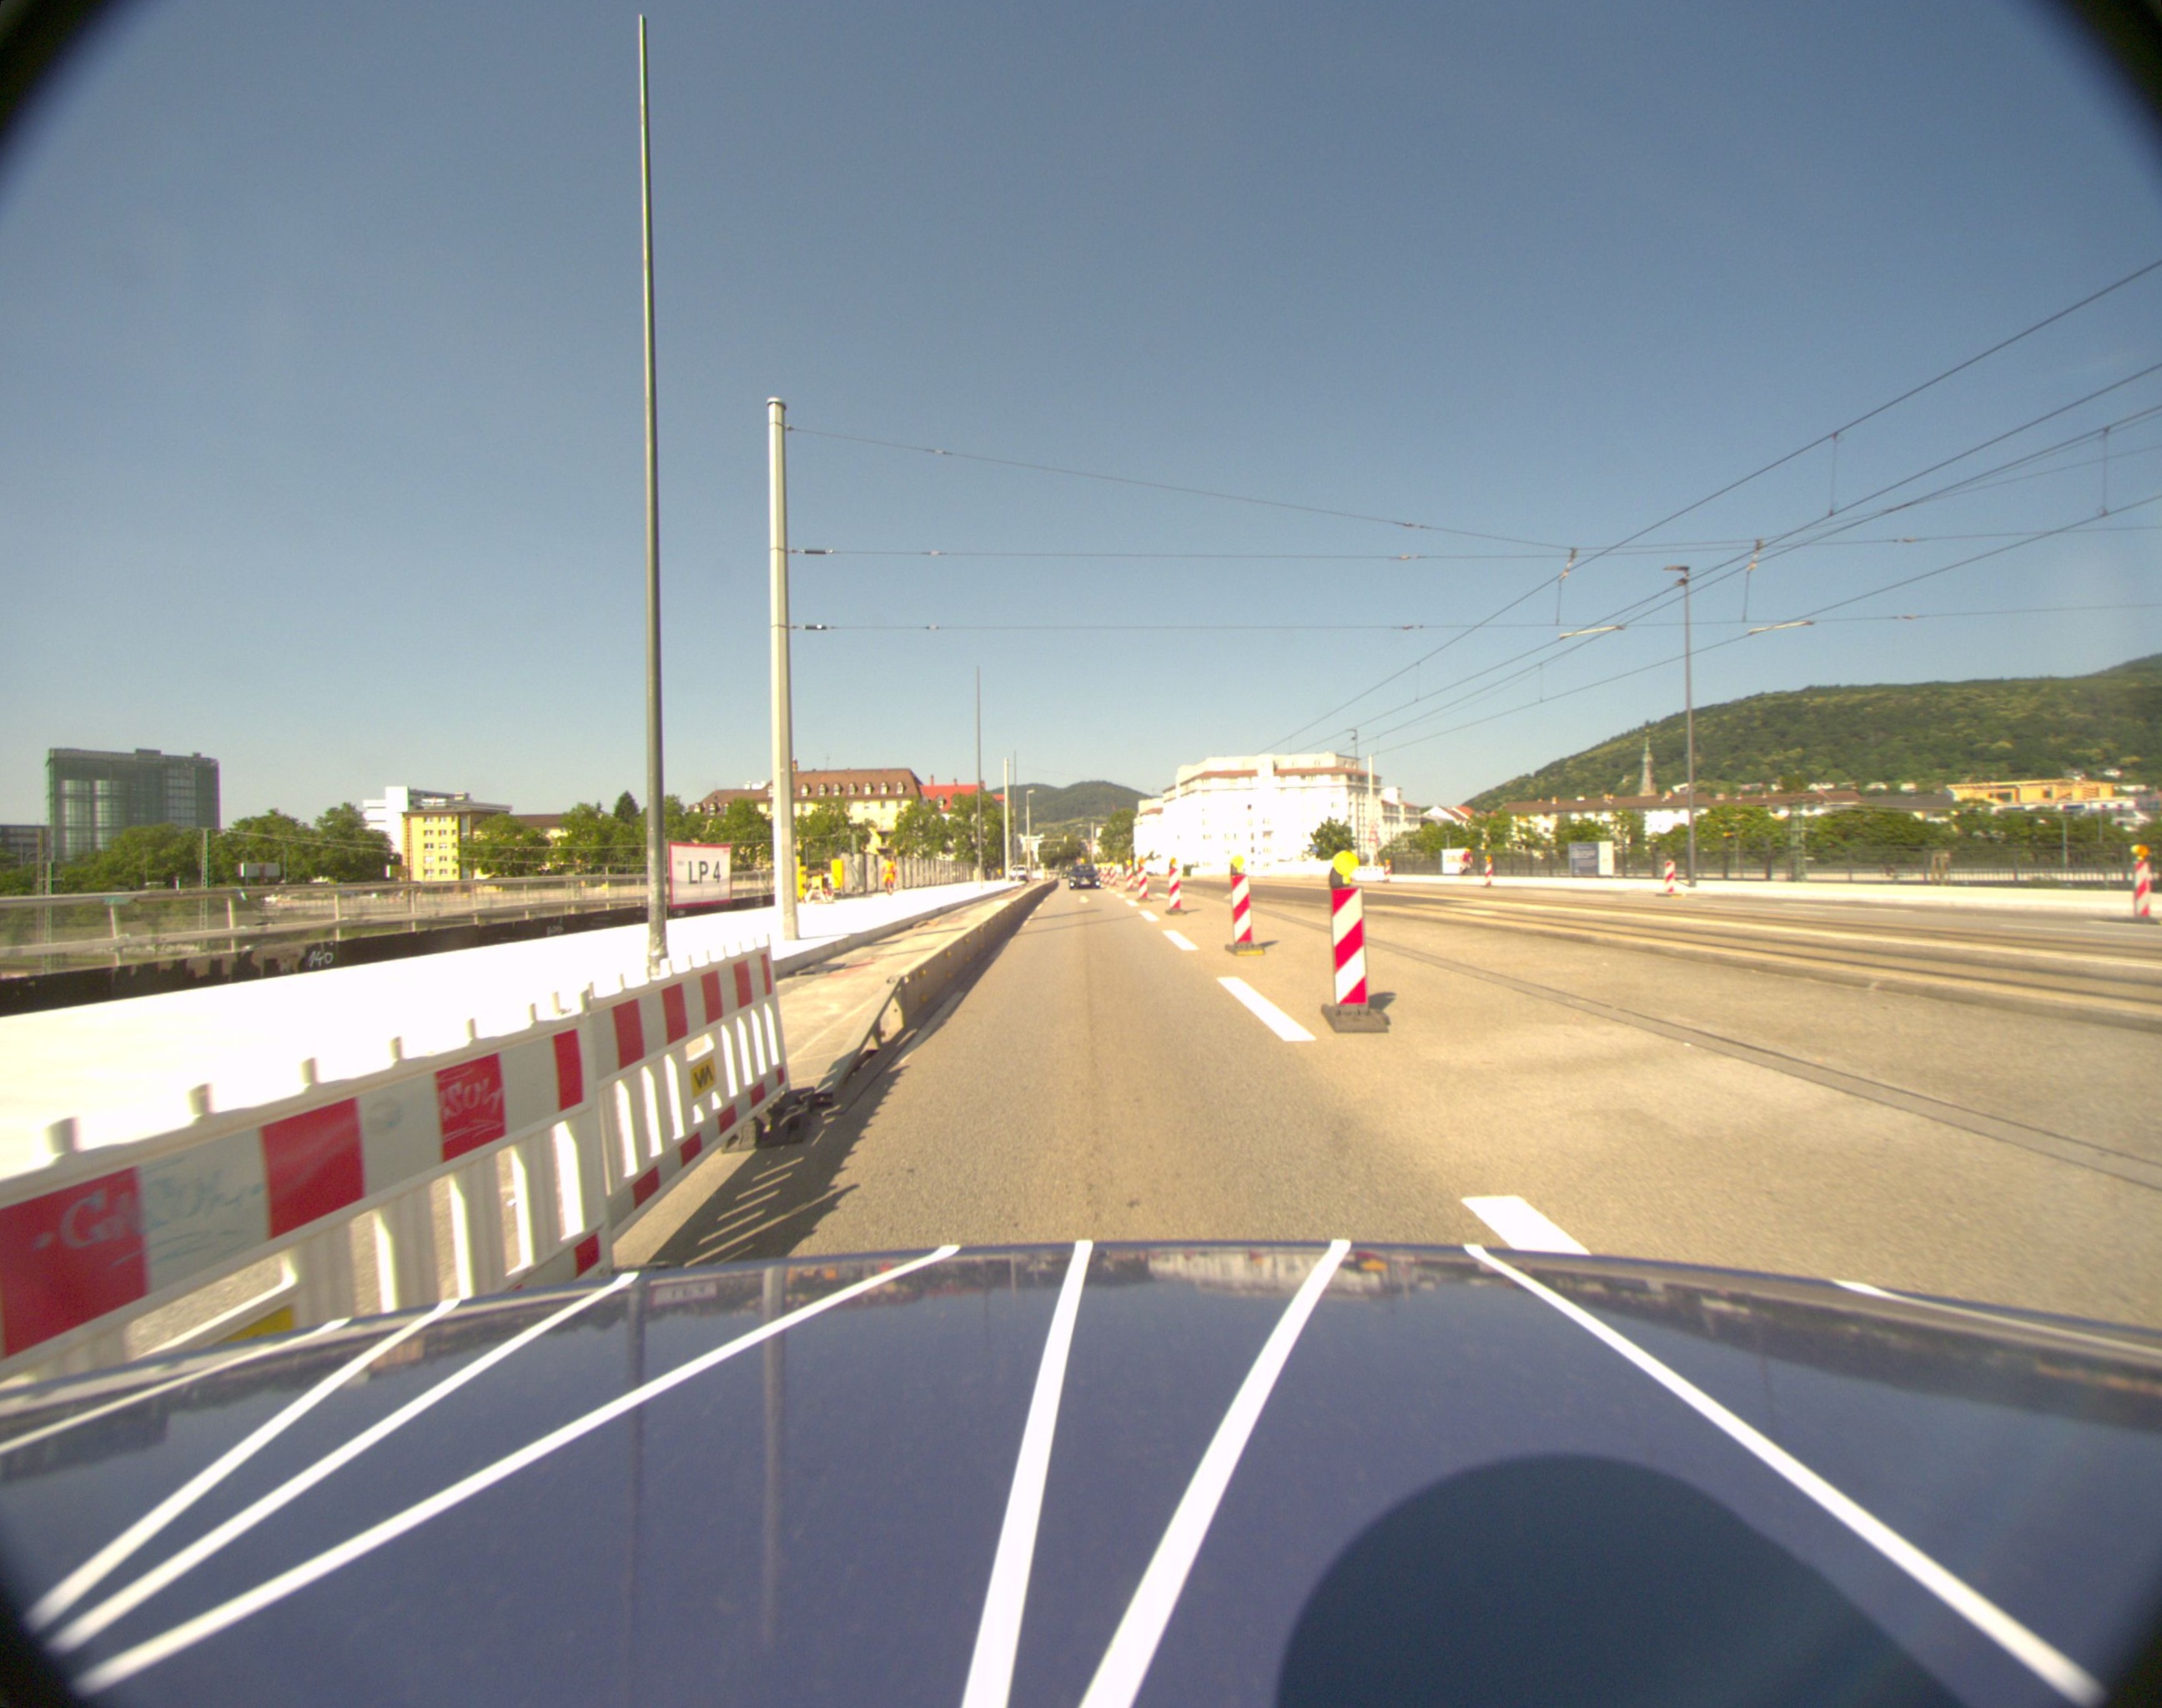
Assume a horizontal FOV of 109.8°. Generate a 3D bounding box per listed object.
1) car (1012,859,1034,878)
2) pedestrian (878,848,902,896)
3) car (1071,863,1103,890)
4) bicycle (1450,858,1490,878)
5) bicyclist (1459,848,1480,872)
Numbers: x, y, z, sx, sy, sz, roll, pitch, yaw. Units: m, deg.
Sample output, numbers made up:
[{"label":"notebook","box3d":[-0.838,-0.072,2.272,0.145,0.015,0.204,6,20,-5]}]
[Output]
[{"label":"car","box3d":[-6.634,1.655,87.471,1.938,2.077,6.472,-2,-1,1]},{"label":"pedestrian","box3d":[-7.939,0.743,31.633,0.733,1.953,1.016,0,0,0]},{"label":"car","box3d":[0.306,1.252,44.422,1.698,1.388,4.362,-3,0,-1]},{"label":"bicycle","box3d":[24.642,0.854,48.235,0.858,1.187,3.072,-2,0,-1]},{"label":"bicyclist","box3d":[24.622,0.380,48.140,0.858,1.510,0.817,-2,0,-1]}]
